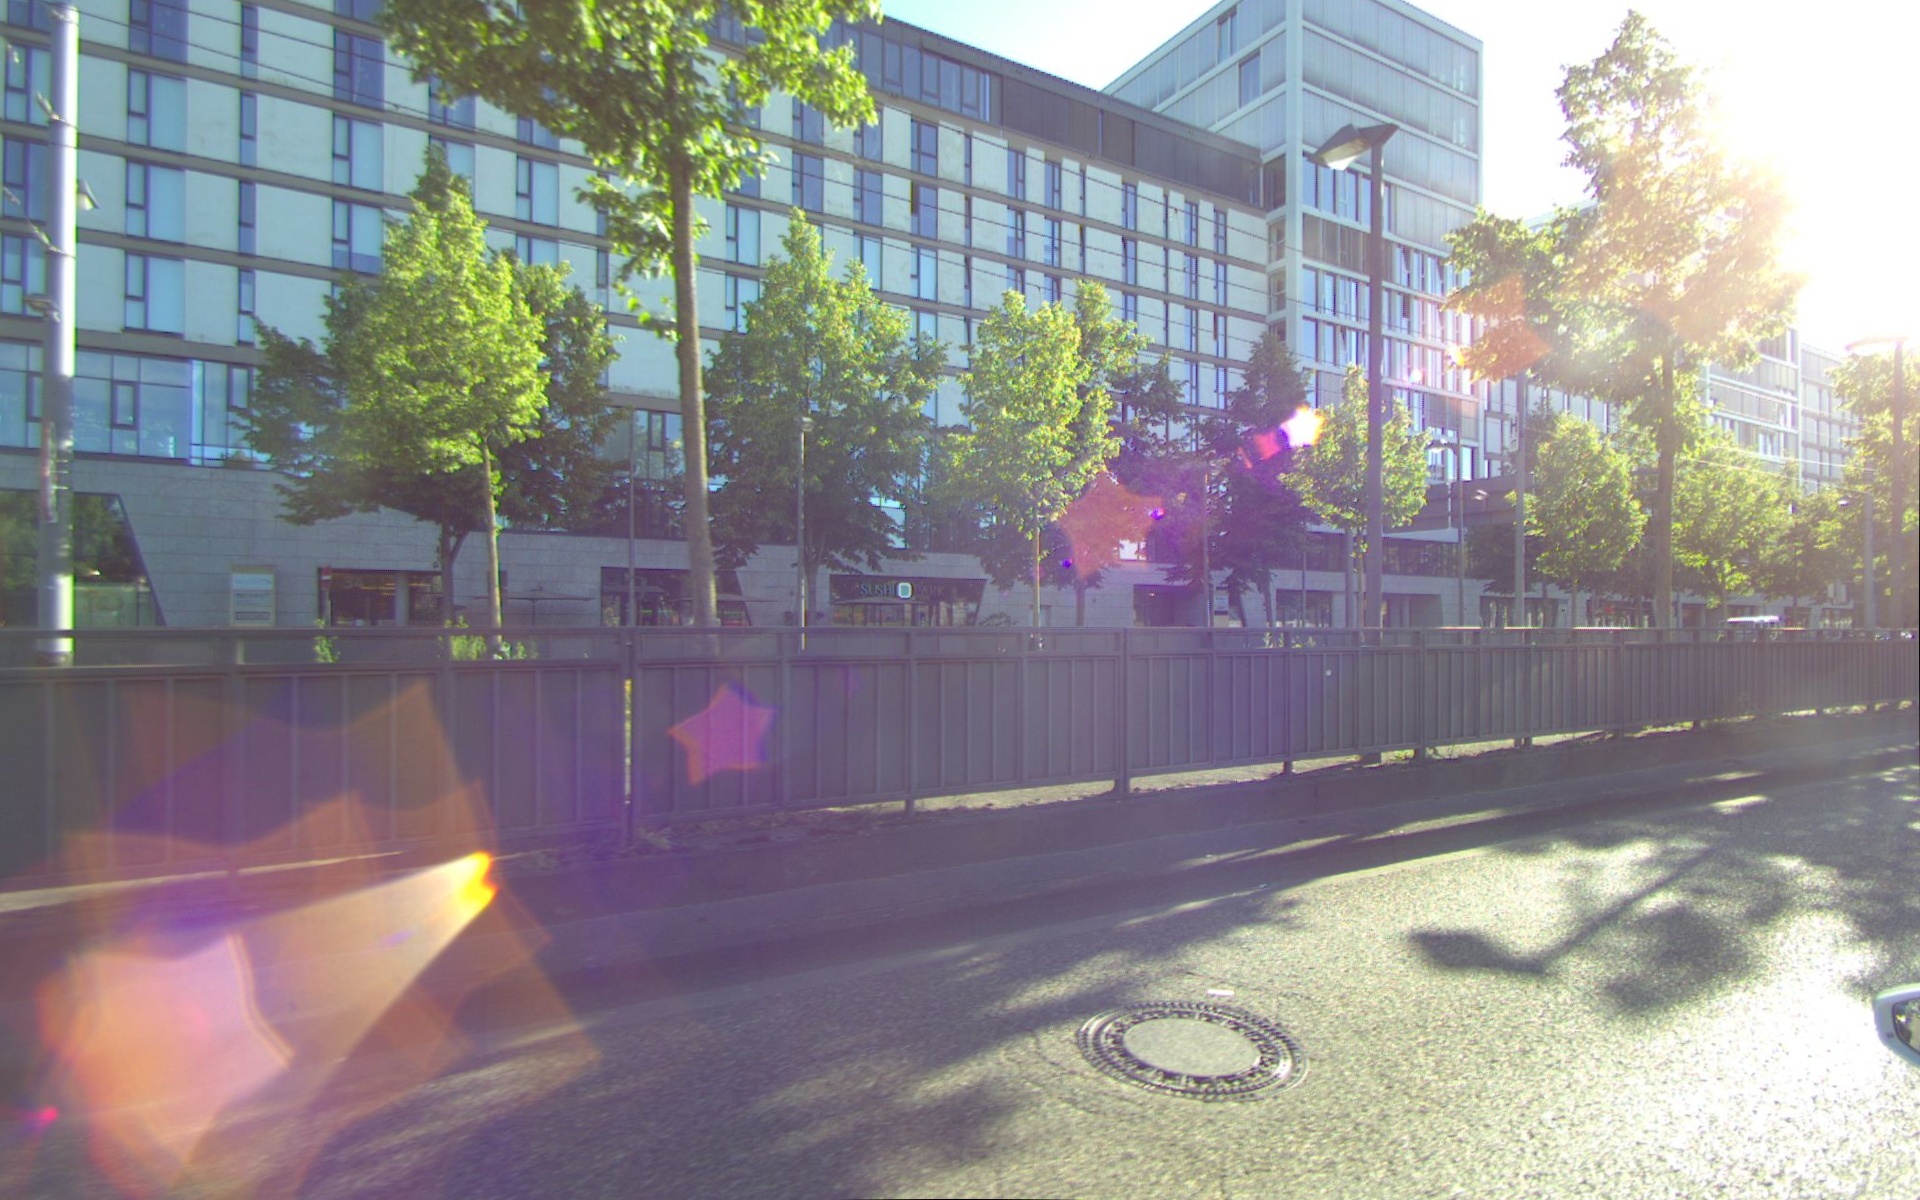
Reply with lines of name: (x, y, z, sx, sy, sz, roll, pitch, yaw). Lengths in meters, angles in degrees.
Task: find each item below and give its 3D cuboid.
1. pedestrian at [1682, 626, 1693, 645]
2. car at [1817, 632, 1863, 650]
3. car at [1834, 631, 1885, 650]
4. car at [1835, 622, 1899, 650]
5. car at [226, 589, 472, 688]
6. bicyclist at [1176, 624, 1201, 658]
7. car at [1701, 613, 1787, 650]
pedestrian: (55.922, 2.739, 77.227, 0.682, 1.431, 0.405, 3, -2, -31)
car: (65.483, 3.054, 74.754, 3.543, 1.223, 1.659, 0, -2, -32)
car: (70.139, 3.138, 78.290, 4.750, 1.438, 1.659, 1, -2, -31)
car: (50.931, 2.023, 56.385, 3.658, 1.541, 1.670, 1, -2, -31)
car: (-11.264, 0.742, 18.768, 3.731, 1.687, 1.609, 3, -2, -30)
bicyclist: (10.104, 1.825, 44.481, 0.821, 1.483, 0.717, 1, -1, -28)
car: (39.036, 1.596, 50.002, 4.179, 1.773, 1.984, 1, -2, -31)
